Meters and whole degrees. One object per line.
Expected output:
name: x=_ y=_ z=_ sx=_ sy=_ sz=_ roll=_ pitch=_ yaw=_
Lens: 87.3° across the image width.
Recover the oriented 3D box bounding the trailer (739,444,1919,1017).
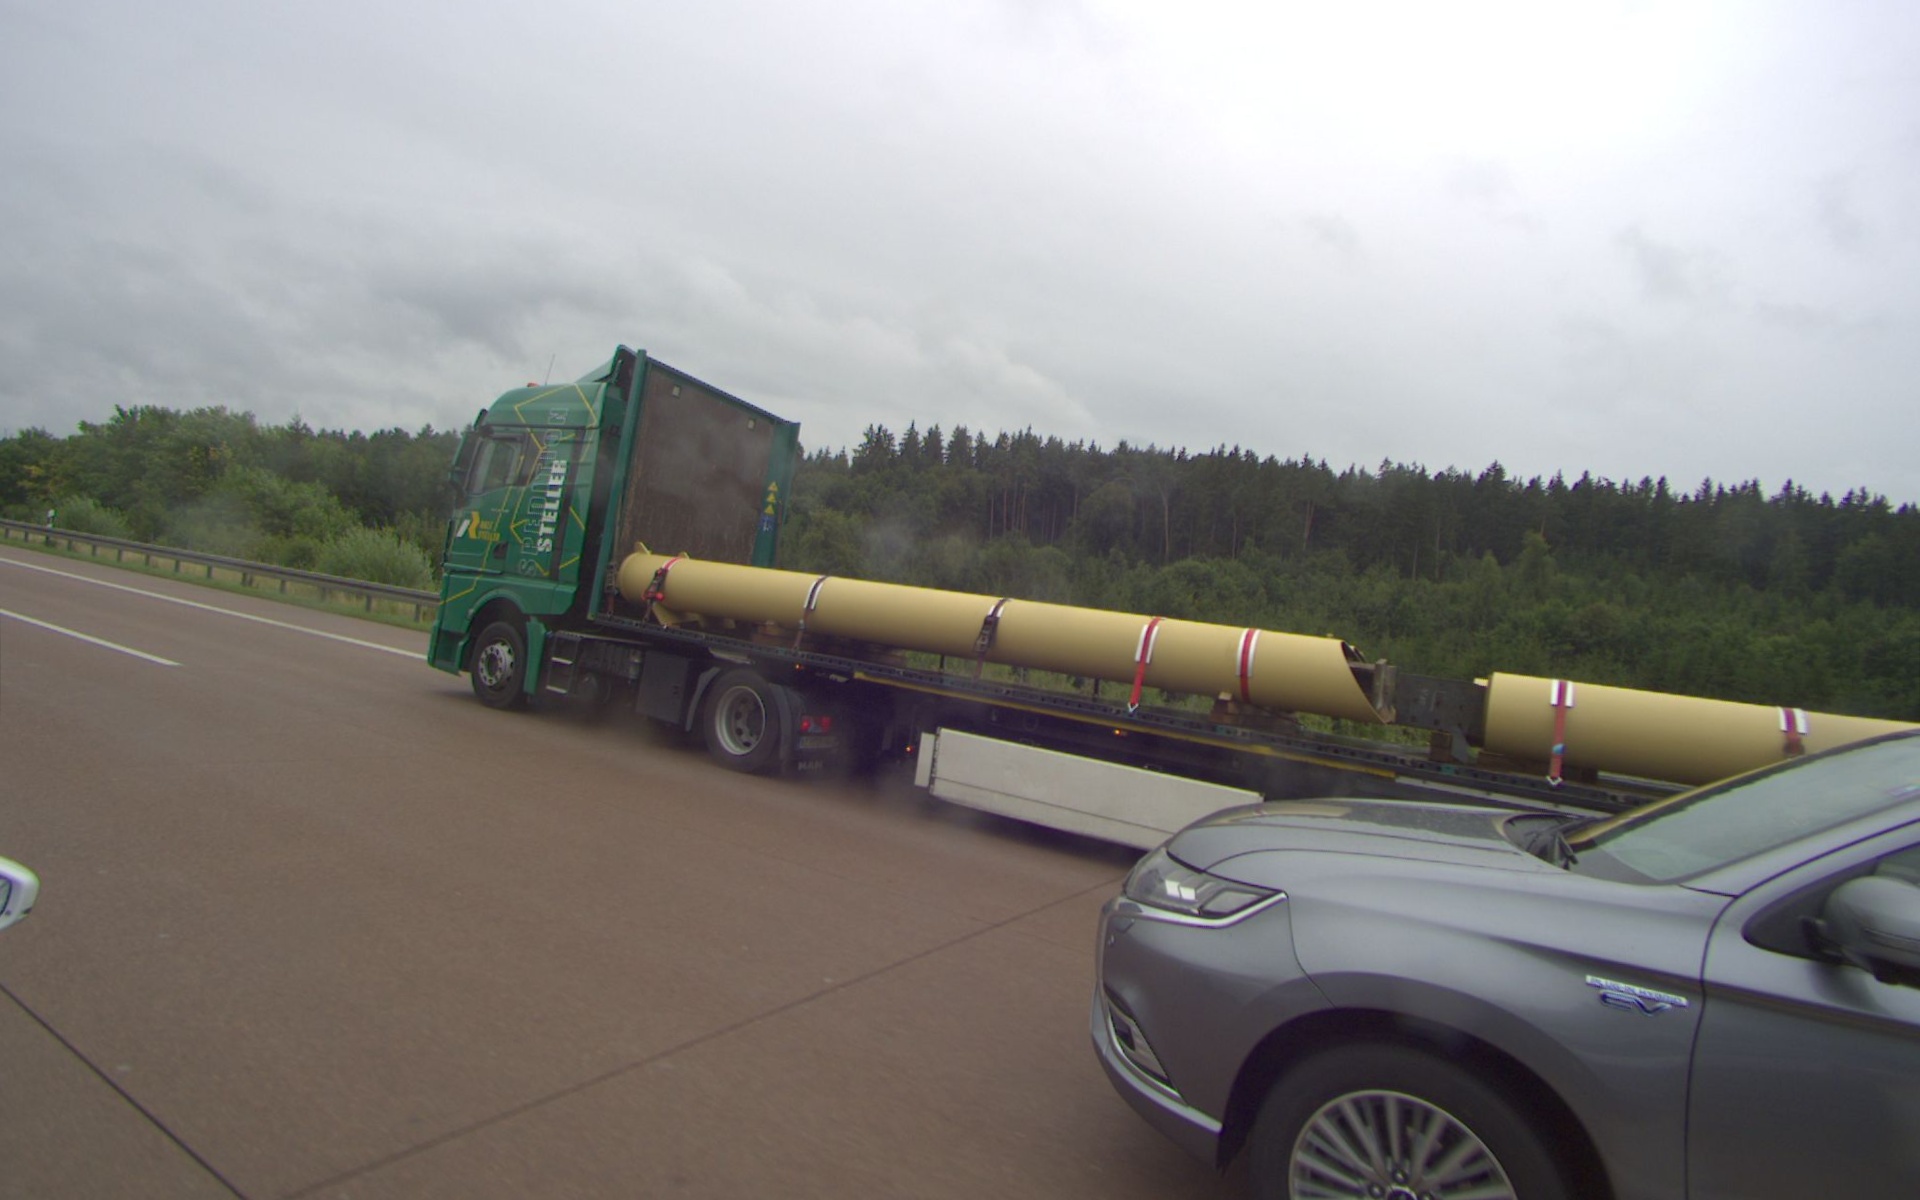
trailer: x=3.761 y=0.607 z=6.950 sx=11.209 sy=2.706 sz=2.887 roll=5 pitch=-2 yaw=31

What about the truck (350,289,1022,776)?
truck: x=-3.213 y=-0.683 z=11.230 sx=6.872 sy=4.010 sz=2.903 roll=5 pitch=-2 yaw=31

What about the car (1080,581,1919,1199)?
car: x=3.326 y=1.072 z=1.946 sx=5.725 sy=1.611 sz=1.997 roll=5 pitch=-3 yaw=32
